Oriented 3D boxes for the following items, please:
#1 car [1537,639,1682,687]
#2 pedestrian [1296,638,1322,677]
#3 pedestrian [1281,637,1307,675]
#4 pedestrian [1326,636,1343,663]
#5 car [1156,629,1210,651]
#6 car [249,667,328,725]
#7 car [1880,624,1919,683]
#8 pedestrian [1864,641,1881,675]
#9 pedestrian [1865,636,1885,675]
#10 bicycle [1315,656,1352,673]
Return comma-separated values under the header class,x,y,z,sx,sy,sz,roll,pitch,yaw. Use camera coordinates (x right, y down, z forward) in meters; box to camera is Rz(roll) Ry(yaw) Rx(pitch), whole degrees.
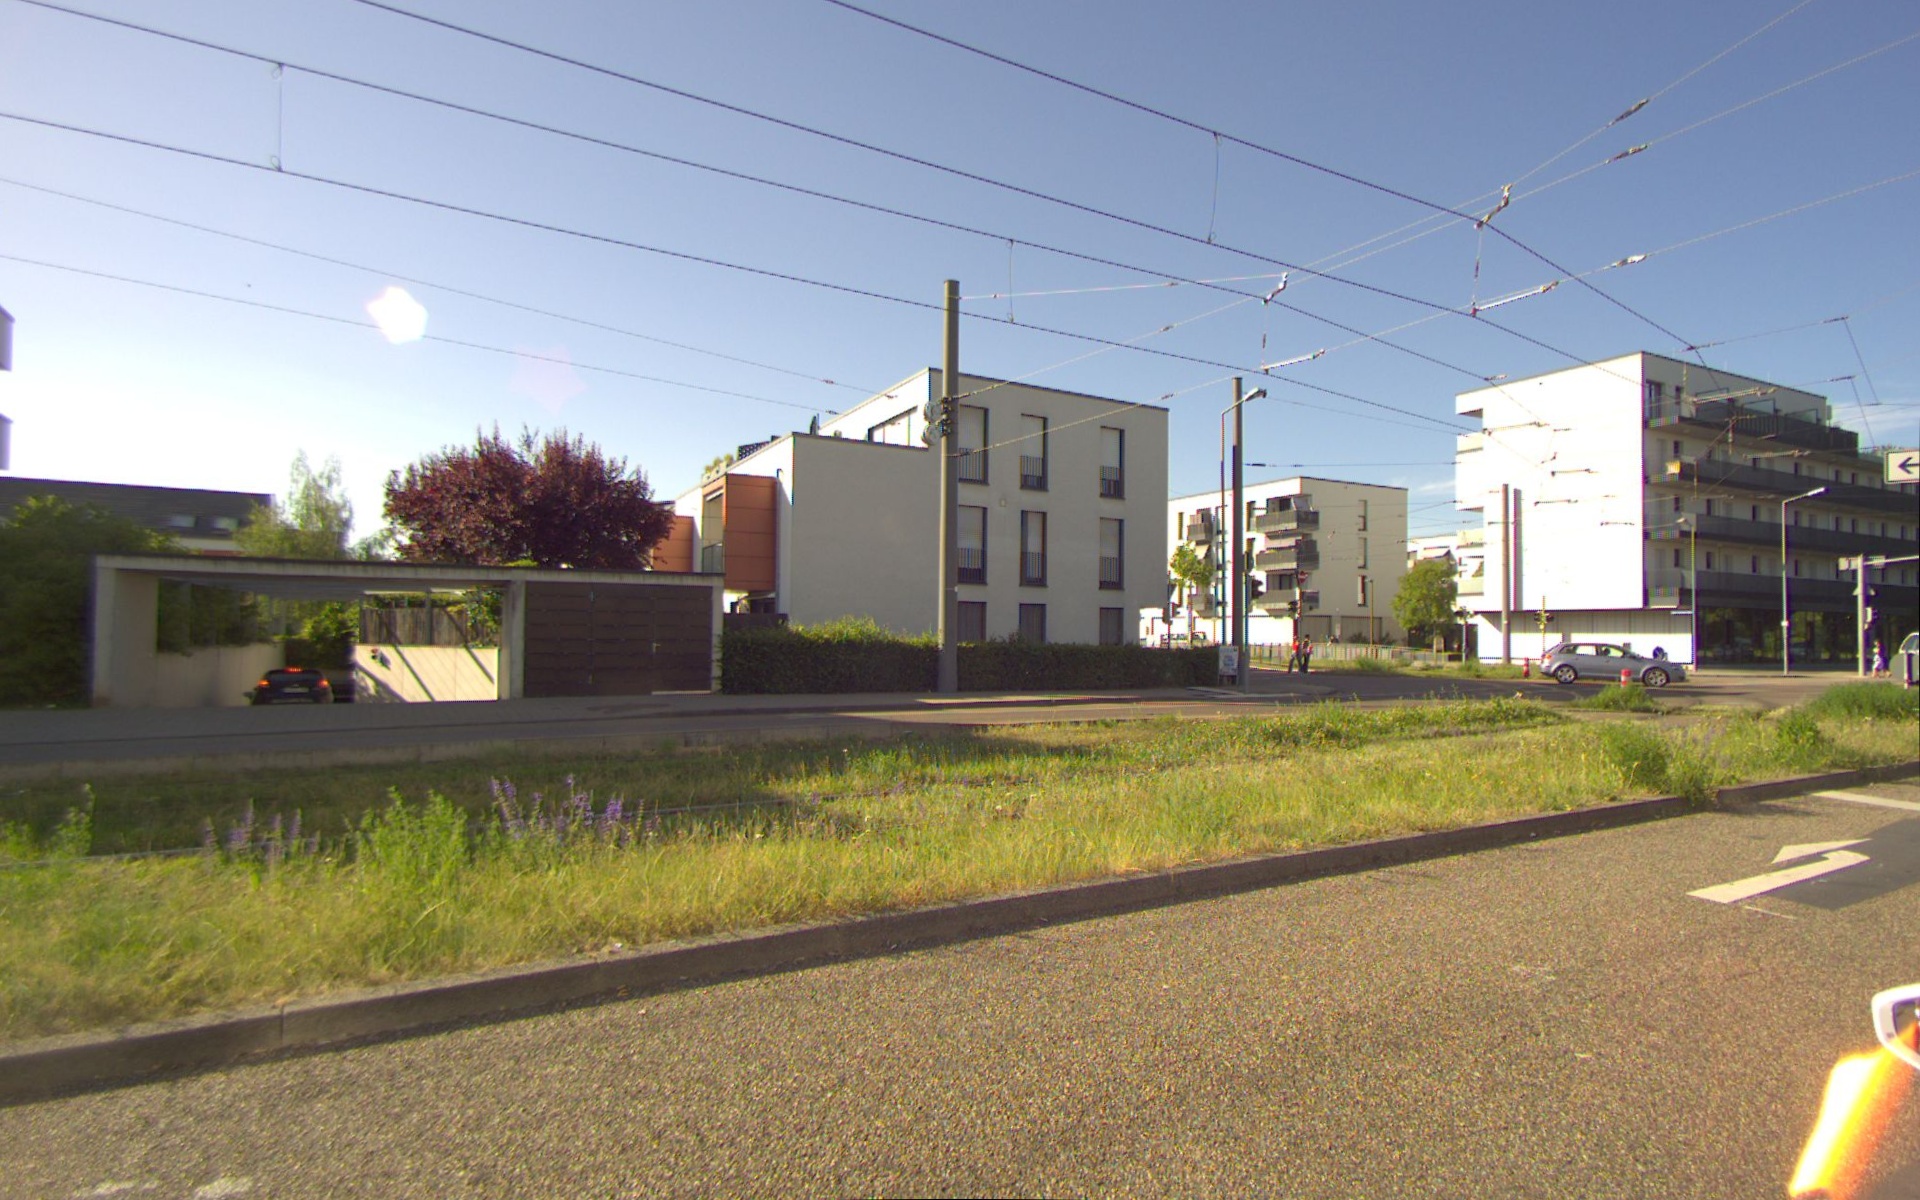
class,x,y,z,sx,sy,sz,roll,pitch,yaw
car,22.050,2.116,34.278,4.038,1.505,1.866,-1,-2,32
pedestrian,15.201,2.493,43.766,0.735,1.626,0.766,2,0,-34
pedestrian,14.831,2.486,44.616,0.735,1.626,0.766,2,0,-34
pedestrian,23.835,3.153,63.884,0.613,1.714,0.809,1,-2,-29
car,17.789,3.197,80.312,1.974,1.595,4.309,2,0,-27
car,-17.334,2.513,25.968,1.560,1.344,3.966,2,-7,-33
car,30.694,1.629,30.505,3.612,1.743,1.871,0,-1,11
pedestrian,42.090,2.663,46.335,0.513,1.523,0.438,2,0,-35
pedestrian,42.518,2.561,46.679,0.513,1.767,0.539,2,0,-35
bicycle,23.755,4.070,63.980,0.633,1.015,2.399,1,-2,-29
